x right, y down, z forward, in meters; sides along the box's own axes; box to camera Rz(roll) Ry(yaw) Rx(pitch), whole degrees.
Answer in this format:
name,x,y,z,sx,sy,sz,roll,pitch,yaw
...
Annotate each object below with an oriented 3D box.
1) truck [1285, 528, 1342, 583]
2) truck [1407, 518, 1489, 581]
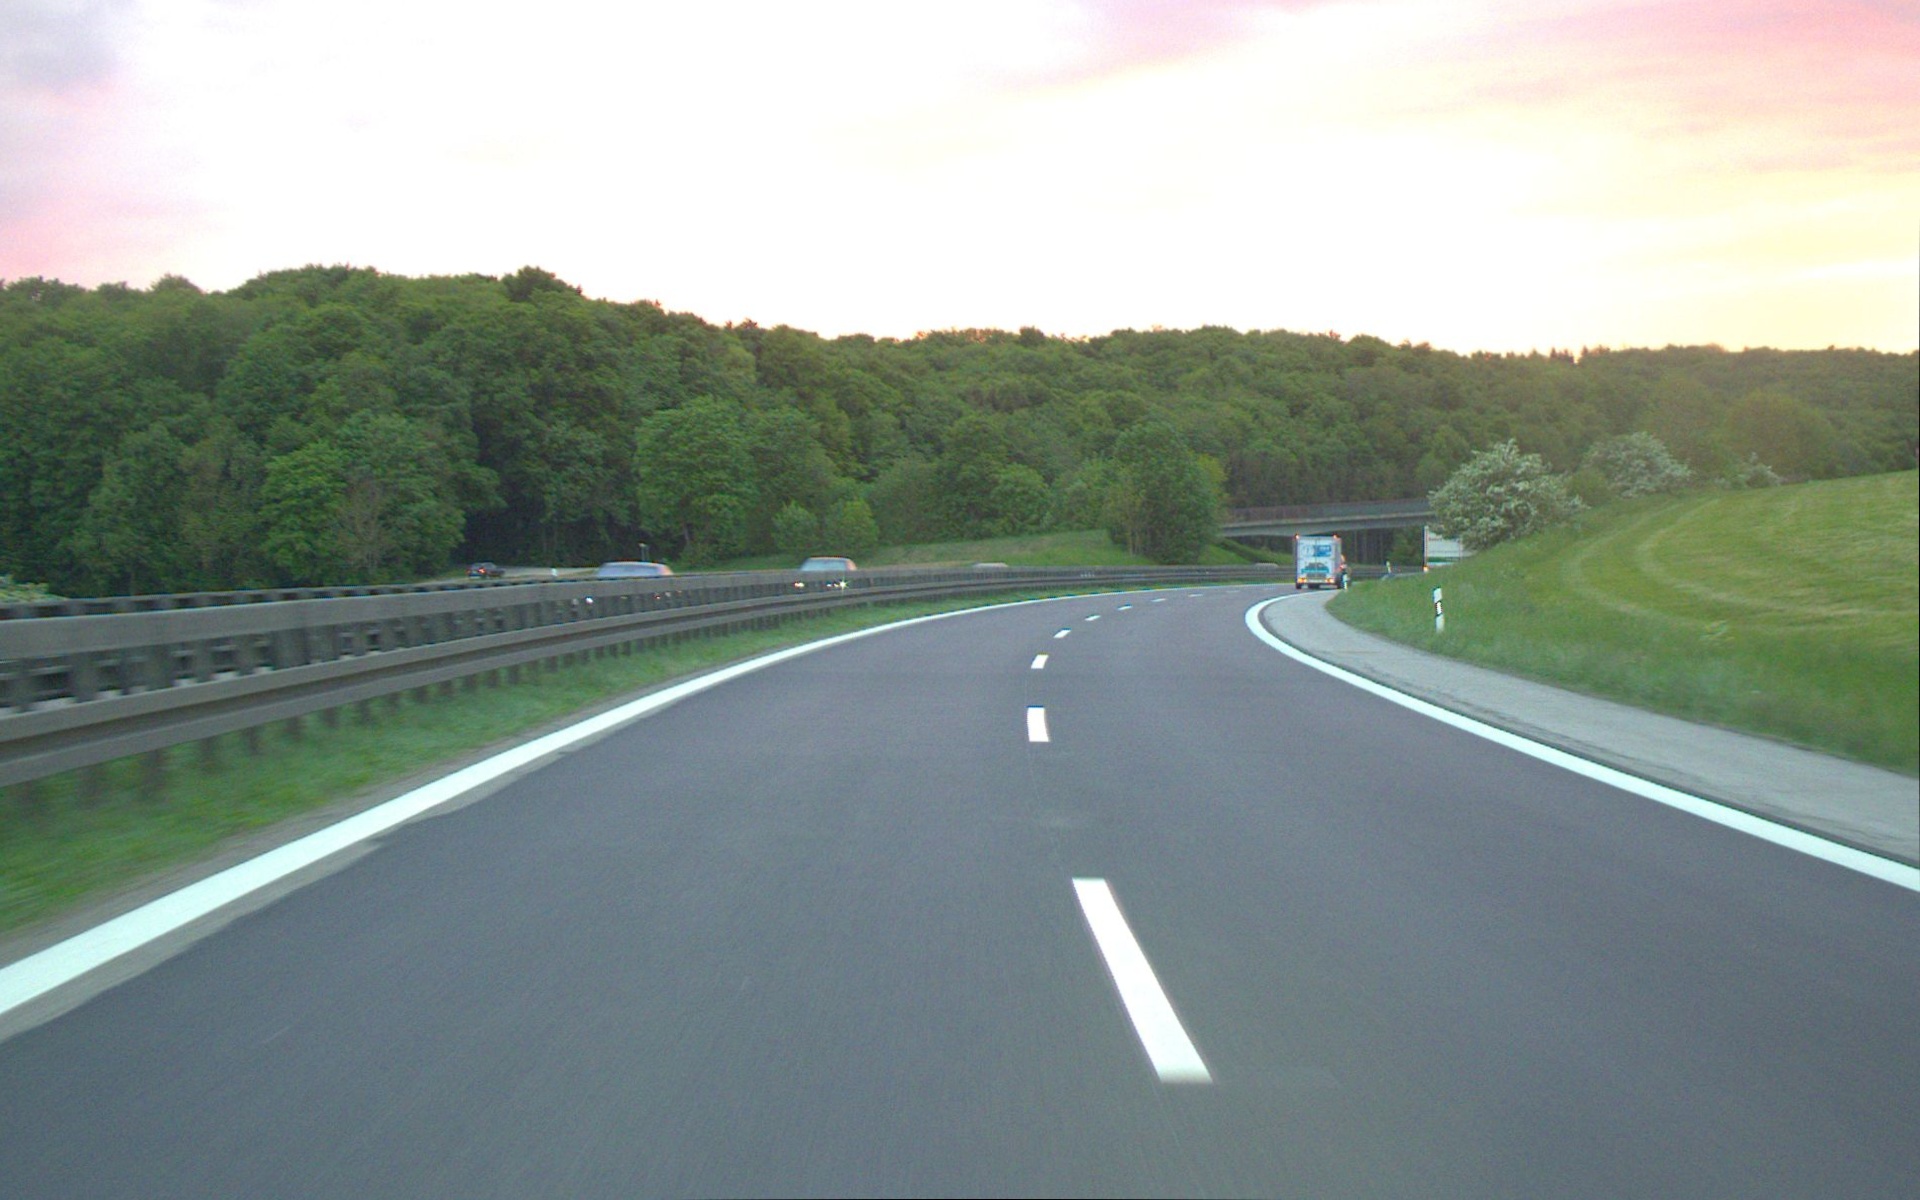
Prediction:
name,x,y,z,sx,sy,sz,roll,pitch,yaw
truck,17.793,-2.245,172.716,2.277,2.656,5.233,-2,1,11
truck,34.457,-3.468,242.093,3.961,4.272,14.313,0,0,15
